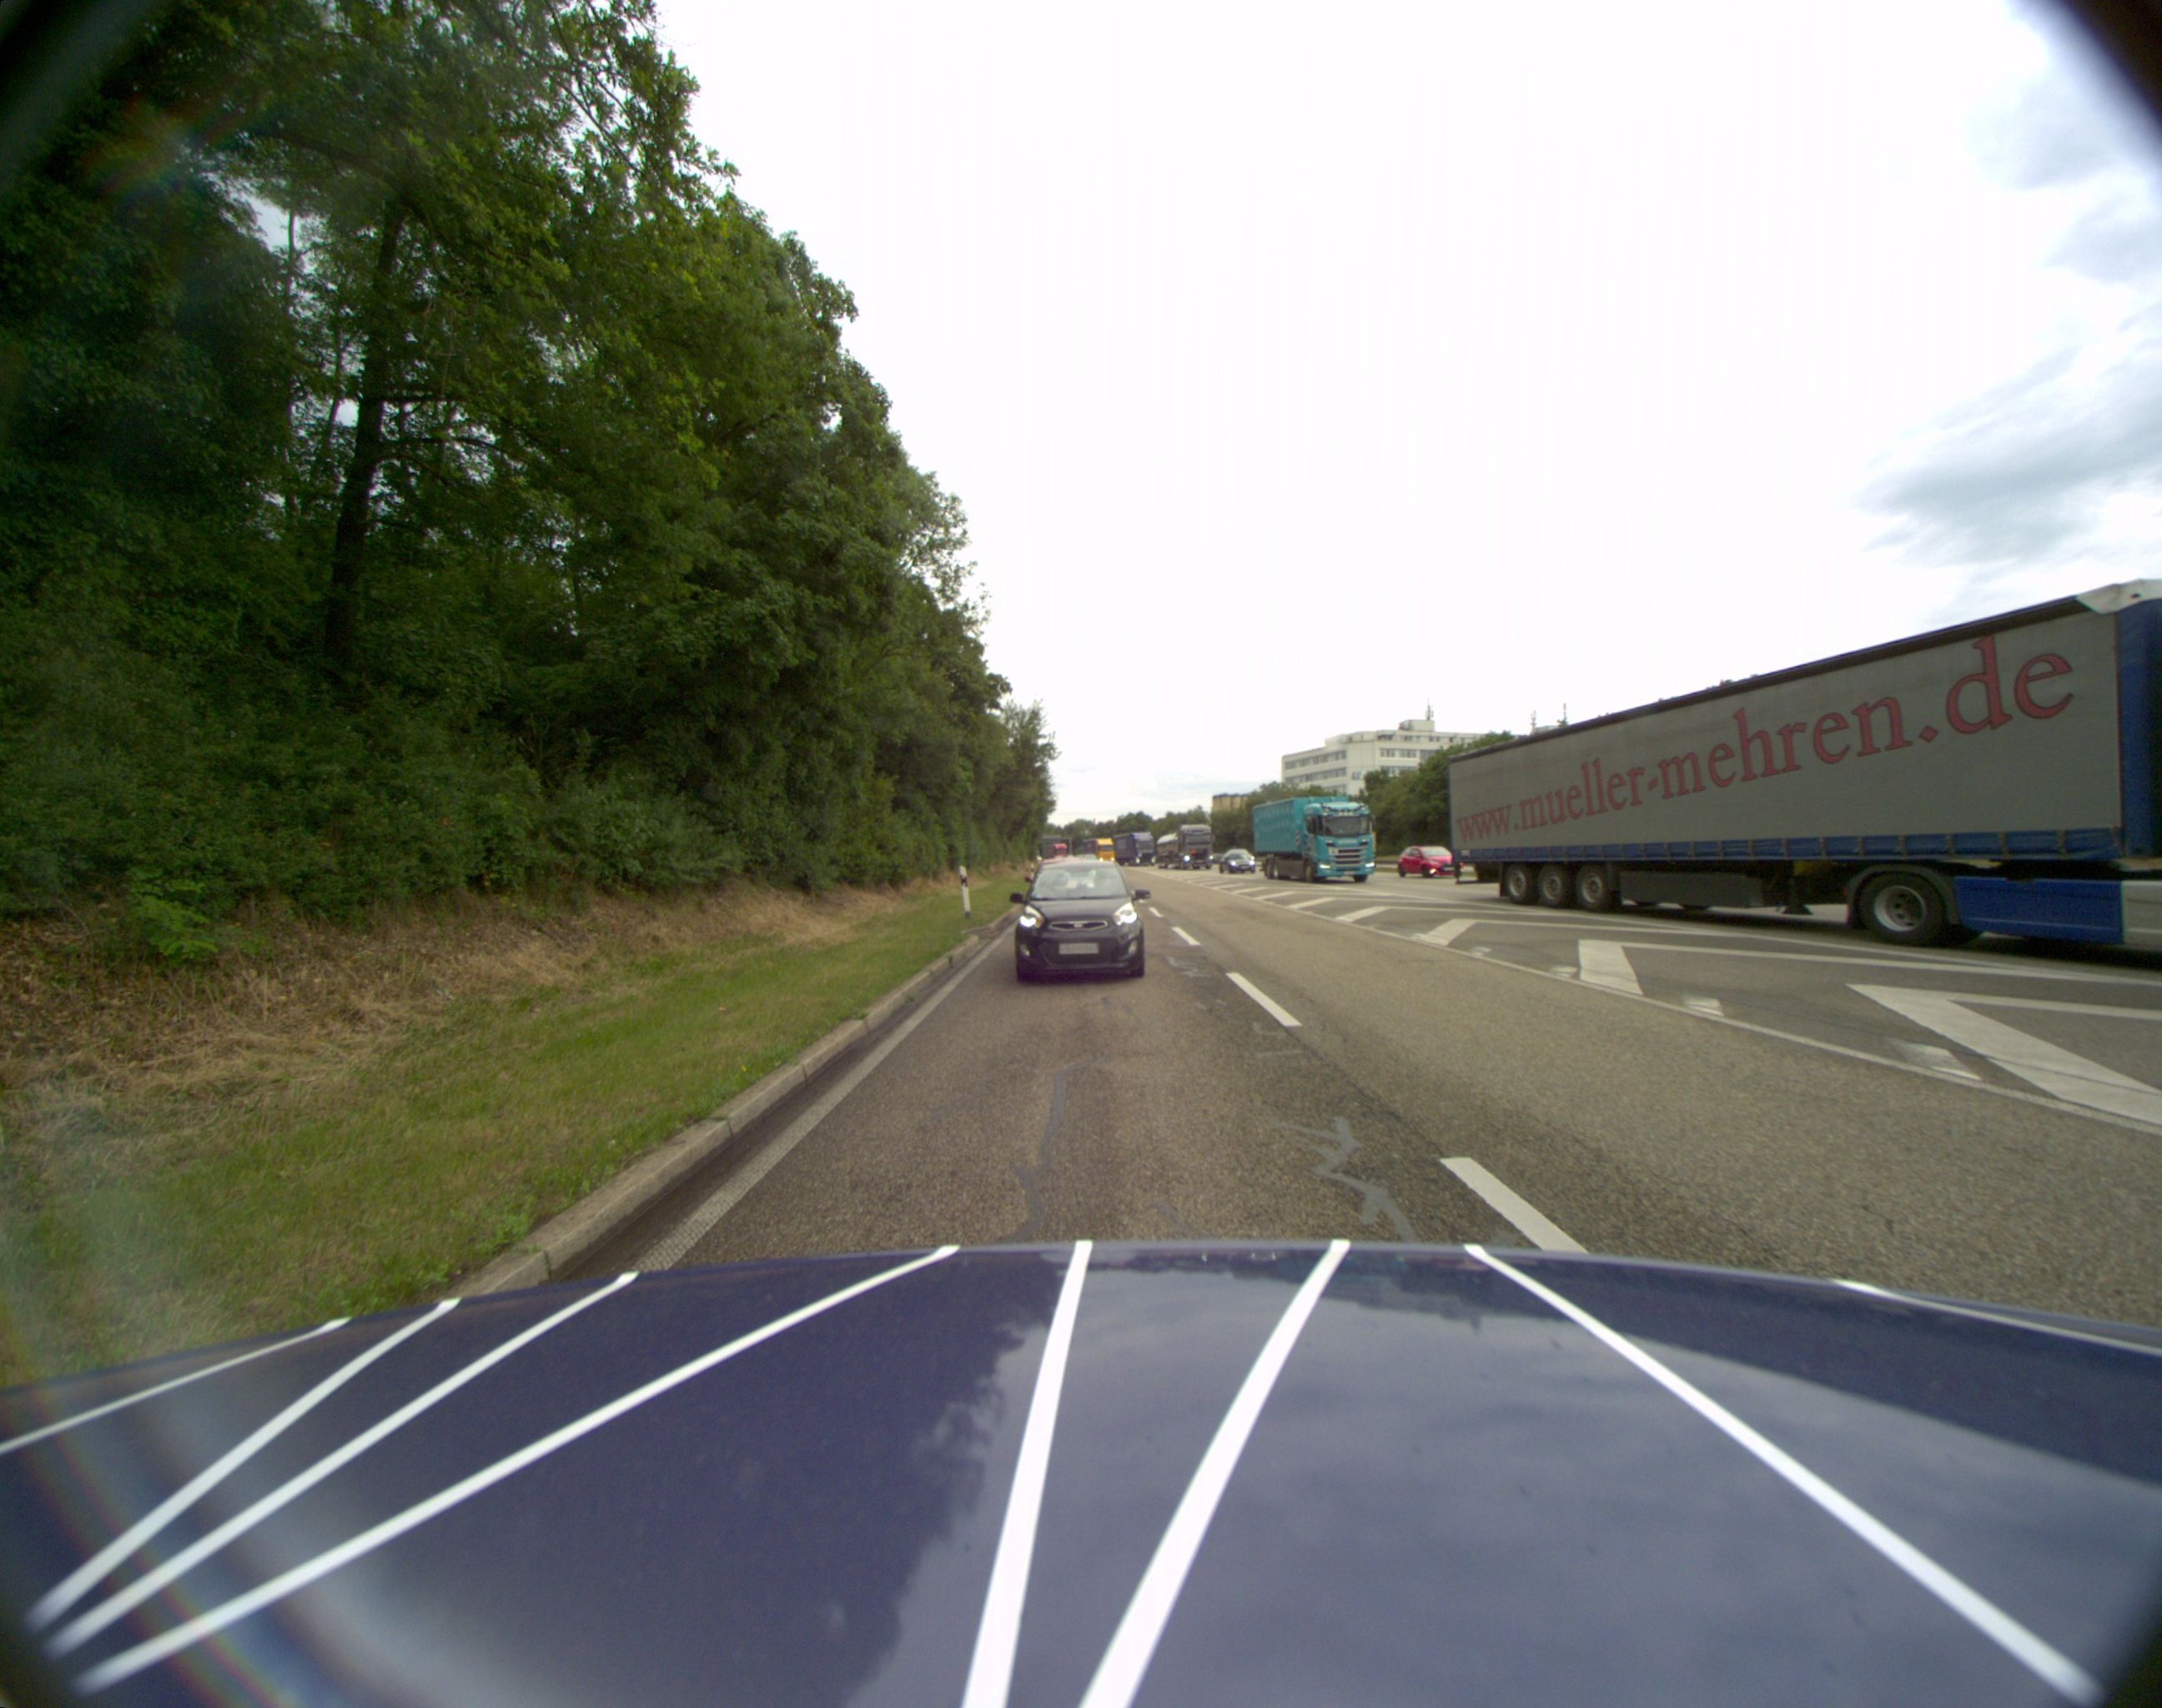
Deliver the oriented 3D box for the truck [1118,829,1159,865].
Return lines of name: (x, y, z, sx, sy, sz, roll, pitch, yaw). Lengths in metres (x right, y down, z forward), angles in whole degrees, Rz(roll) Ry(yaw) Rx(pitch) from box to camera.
truck: (7.071, -0.821, 96.050, 2.814, 4.206, 13.999, -2, 0, -5)

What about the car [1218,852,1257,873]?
car: (10.526, 0.532, 51.507, 1.757, 1.314, 3.999, -2, 0, -1)

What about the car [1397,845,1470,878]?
car: (16.131, 0.336, 34.976, 1.746, 1.410, 3.447, -1, 0, 0)

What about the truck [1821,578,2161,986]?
truck: (11.784, -0.721, 7.716, 2.675, 3.938, 5.926, -2, 0, -1)

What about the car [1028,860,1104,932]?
car: (-0.342, 0.936, 18.418, 1.631, 1.492, 3.563, -1, 0, 0)

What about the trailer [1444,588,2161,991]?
trailer: (11.694, -0.683, 14.443, 2.680, 3.951, 13.918, -2, 0, -1)

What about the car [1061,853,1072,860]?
car: (-2.799, 0.401, 146.714, 1.636, 1.328, 3.192, -1, 0, -11)

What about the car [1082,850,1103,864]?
car: (1.370, 0.338, 93.178, 1.907, 1.653, 4.749, -1, 1, -6)

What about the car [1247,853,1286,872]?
car: (14.705, 0.651, 60.460, 1.898, 1.425, 4.054, -1, 0, -3)

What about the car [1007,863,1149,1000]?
car: (-0.003, 0.914, 10.748, 1.584, 1.485, 4.000, -2, 0, 1)

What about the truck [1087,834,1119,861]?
truck: (3.491, -1.001, 127.079, 2.848, 4.206, 14.110, -2, 0, -8)

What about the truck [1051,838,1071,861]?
truck: (-4.697, -1.003, 173.166, 2.848, 5.070, 14.110, -2, 0, -8)

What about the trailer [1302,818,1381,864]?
trailer: (25.201, -1.157, 74.399, 2.404, 4.005, 13.072, -1, 0, -4)

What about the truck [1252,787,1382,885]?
truck: (10.944, -0.767, 36.622, 2.700, 3.977, 10.122, -2, 0, -2)

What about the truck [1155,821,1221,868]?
truck: (9.694, -0.827, 70.780, 3.329, 3.902, 13.140, -2, 0, -4)
